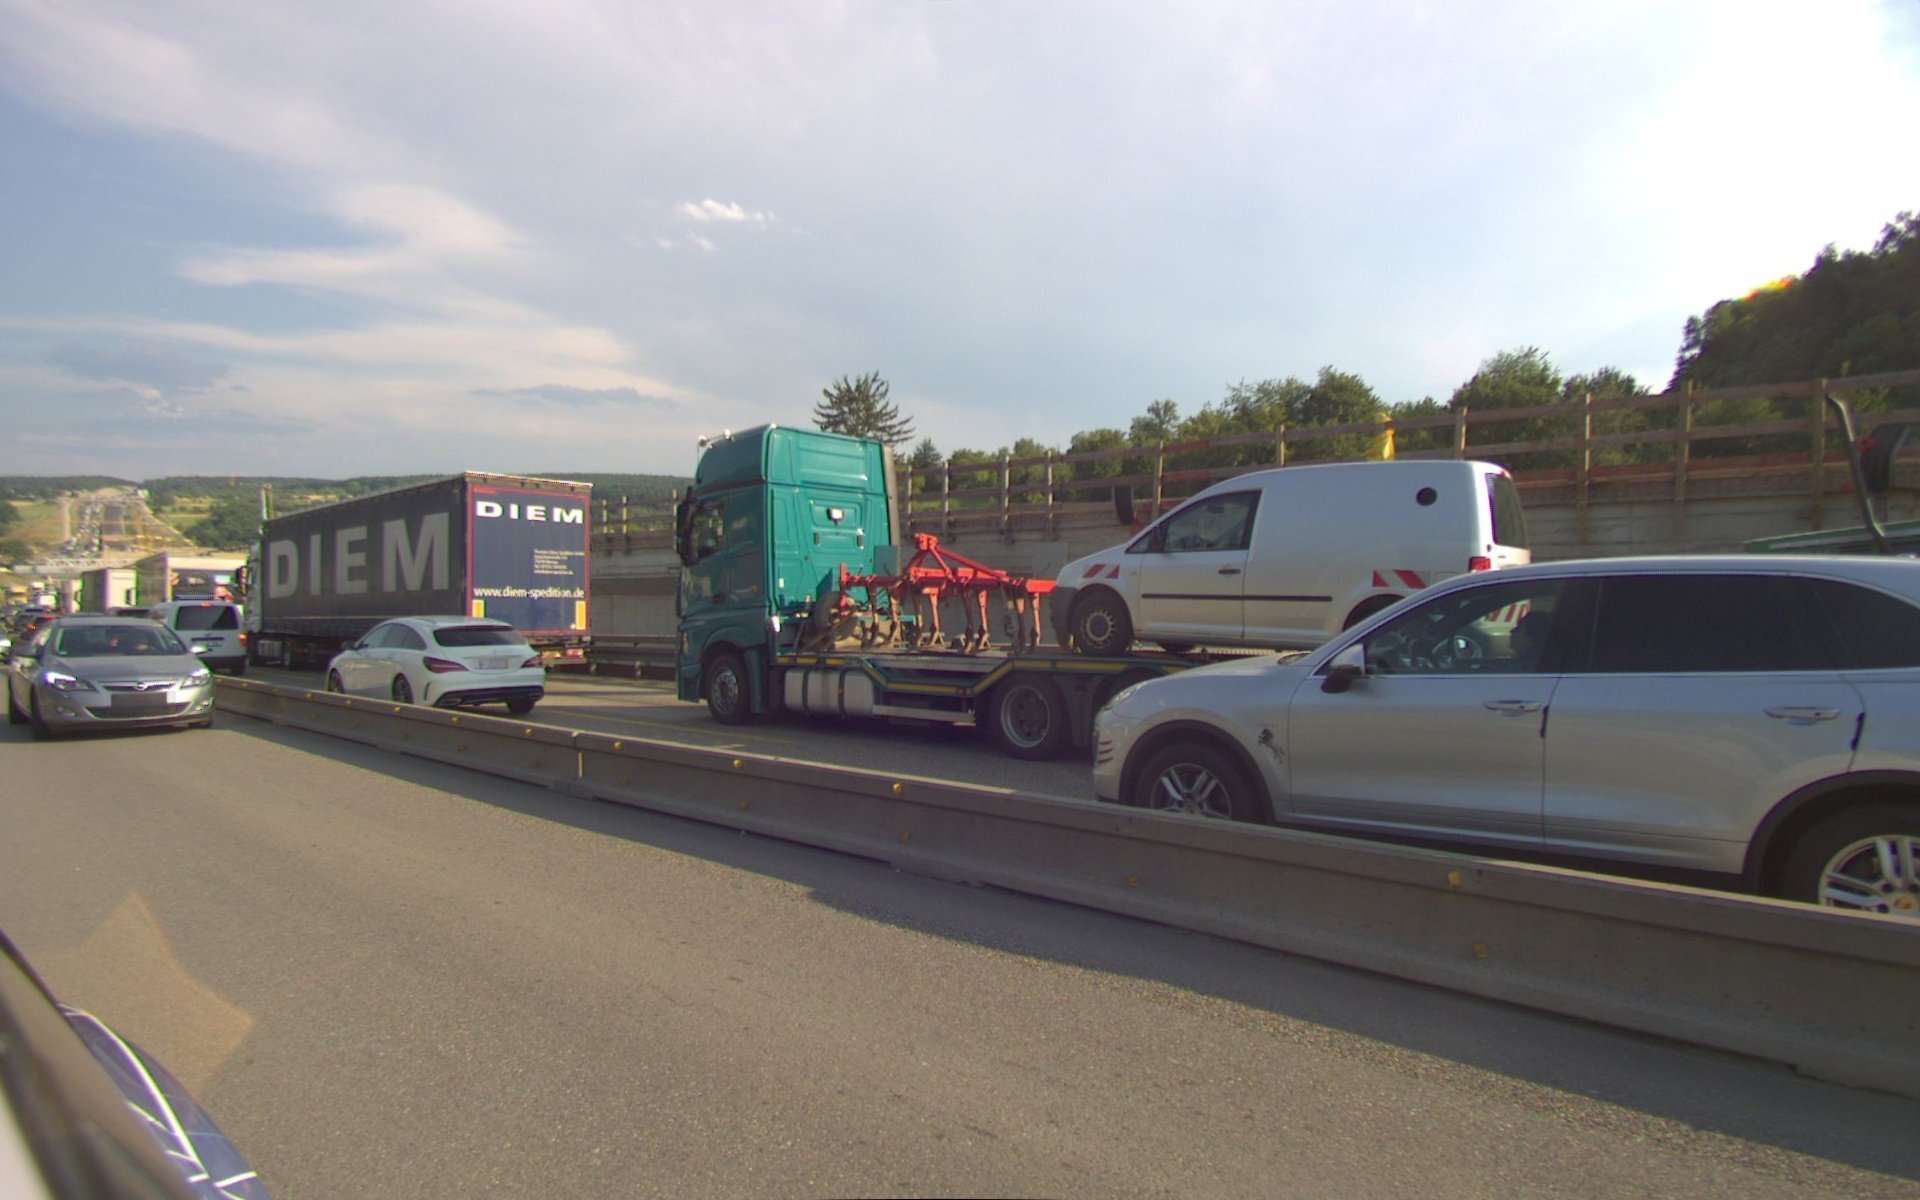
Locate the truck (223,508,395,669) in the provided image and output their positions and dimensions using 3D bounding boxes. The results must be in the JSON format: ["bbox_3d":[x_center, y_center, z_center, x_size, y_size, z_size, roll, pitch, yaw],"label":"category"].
[{"bbox_3d":[-18.555,-0.238,28.772,5.028,4.146,2.720,-1,-2,41],"label":"truck"}]

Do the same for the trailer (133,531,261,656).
[{"bbox_3d":[-30.337,-0.227,40.115,7.153,4.499,2.879,0,0,43],"label":"trailer"}]

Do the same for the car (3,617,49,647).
[{"bbox_3d":[-54.678,1.862,59.239,4.481,1.562,1.747,1,1,44],"label":"car"}]

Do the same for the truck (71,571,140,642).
[{"bbox_3d":[-53.490,0.408,63.303,6.117,4.235,2.733,0,-1,45],"label":"truck"}]

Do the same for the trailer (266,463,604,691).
[{"bbox_3d":[-12.770,-0.332,23.623,12.488,4.154,2.686,-1,-2,42],"label":"trailer"}]

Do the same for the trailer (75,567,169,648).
[{"bbox_3d":[-48.691,0.401,58.597,13.839,4.235,2.744,0,-1,45],"label":"trailer"}]

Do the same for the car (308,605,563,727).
[{"bbox_3d":[-7.912,0.871,15.030,4.816,1.533,1.783,0,-2,42],"label":"car"}]

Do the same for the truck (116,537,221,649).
[{"bbox_3d":[-34.416,-0.278,43.962,5.028,4.548,2.887,0,-1,43],"label":"truck"}]

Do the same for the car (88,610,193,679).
[{"bbox_3d":[-25.856,1.320,31.865,4.898,1.978,1.813,0,0,42],"label":"car"}]

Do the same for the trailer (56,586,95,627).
[{"bbox_3d":[-93.512,0.681,106.909,2.782,4.136,8.295,1,-1,-43],"label":"trailer"}]

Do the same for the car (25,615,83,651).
[{"bbox_3d":[-46.727,1.667,52.141,4.748,1.598,1.842,1,3,44],"label":"car"}]

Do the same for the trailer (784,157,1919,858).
[{"bbox_3d":[4.858,-0.467,7.686,16.039,3.845,2.720,-1,-2,41],"label":"trailer"}]

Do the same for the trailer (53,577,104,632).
[{"bbox_3d":[-74.595,0.373,85.520,2.427,4.353,13.785,1,-1,-44],"label":"trailer"}]

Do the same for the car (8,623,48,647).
[{"bbox_3d":[-64.930,2.410,70.477,4.816,1.467,1.755,1,2,44],"label":"car"}]

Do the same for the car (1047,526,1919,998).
[{"bbox_3d":[2.980,0.580,5.152,4.844,1.657,1.939,0,-1,40],"label":"car"}]

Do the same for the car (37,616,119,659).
[{"bbox_3d":[-35.997,1.488,41.246,5.368,1.618,1.856,0,-3,42],"label":"car"}]

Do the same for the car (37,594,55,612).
[{"bbox_3d":[-143.023,0.506,158.375,1.972,2.636,5.620,2,-2,-42],"label":"car"}]

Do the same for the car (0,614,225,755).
[{"bbox_3d":[-11.247,0.969,13.316,4.118,1.498,1.786,0,0,43],"label":"car"}]

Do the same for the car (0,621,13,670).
[{"bbox_3d":[-30.813,1.416,31.414,4.000,1.452,1.799,-1,0,43],"label":"car"}]

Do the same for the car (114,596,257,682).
[{"bbox_3d":[-19.369,0.920,25.222,5.128,1.948,1.804,0,-3,42],"label":"car"}]

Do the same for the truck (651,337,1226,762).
[{"bbox_3d":[-0.618,-0.394,12.489,7.108,3.834,2.720,-1,-2,41],"label":"truck"}]
